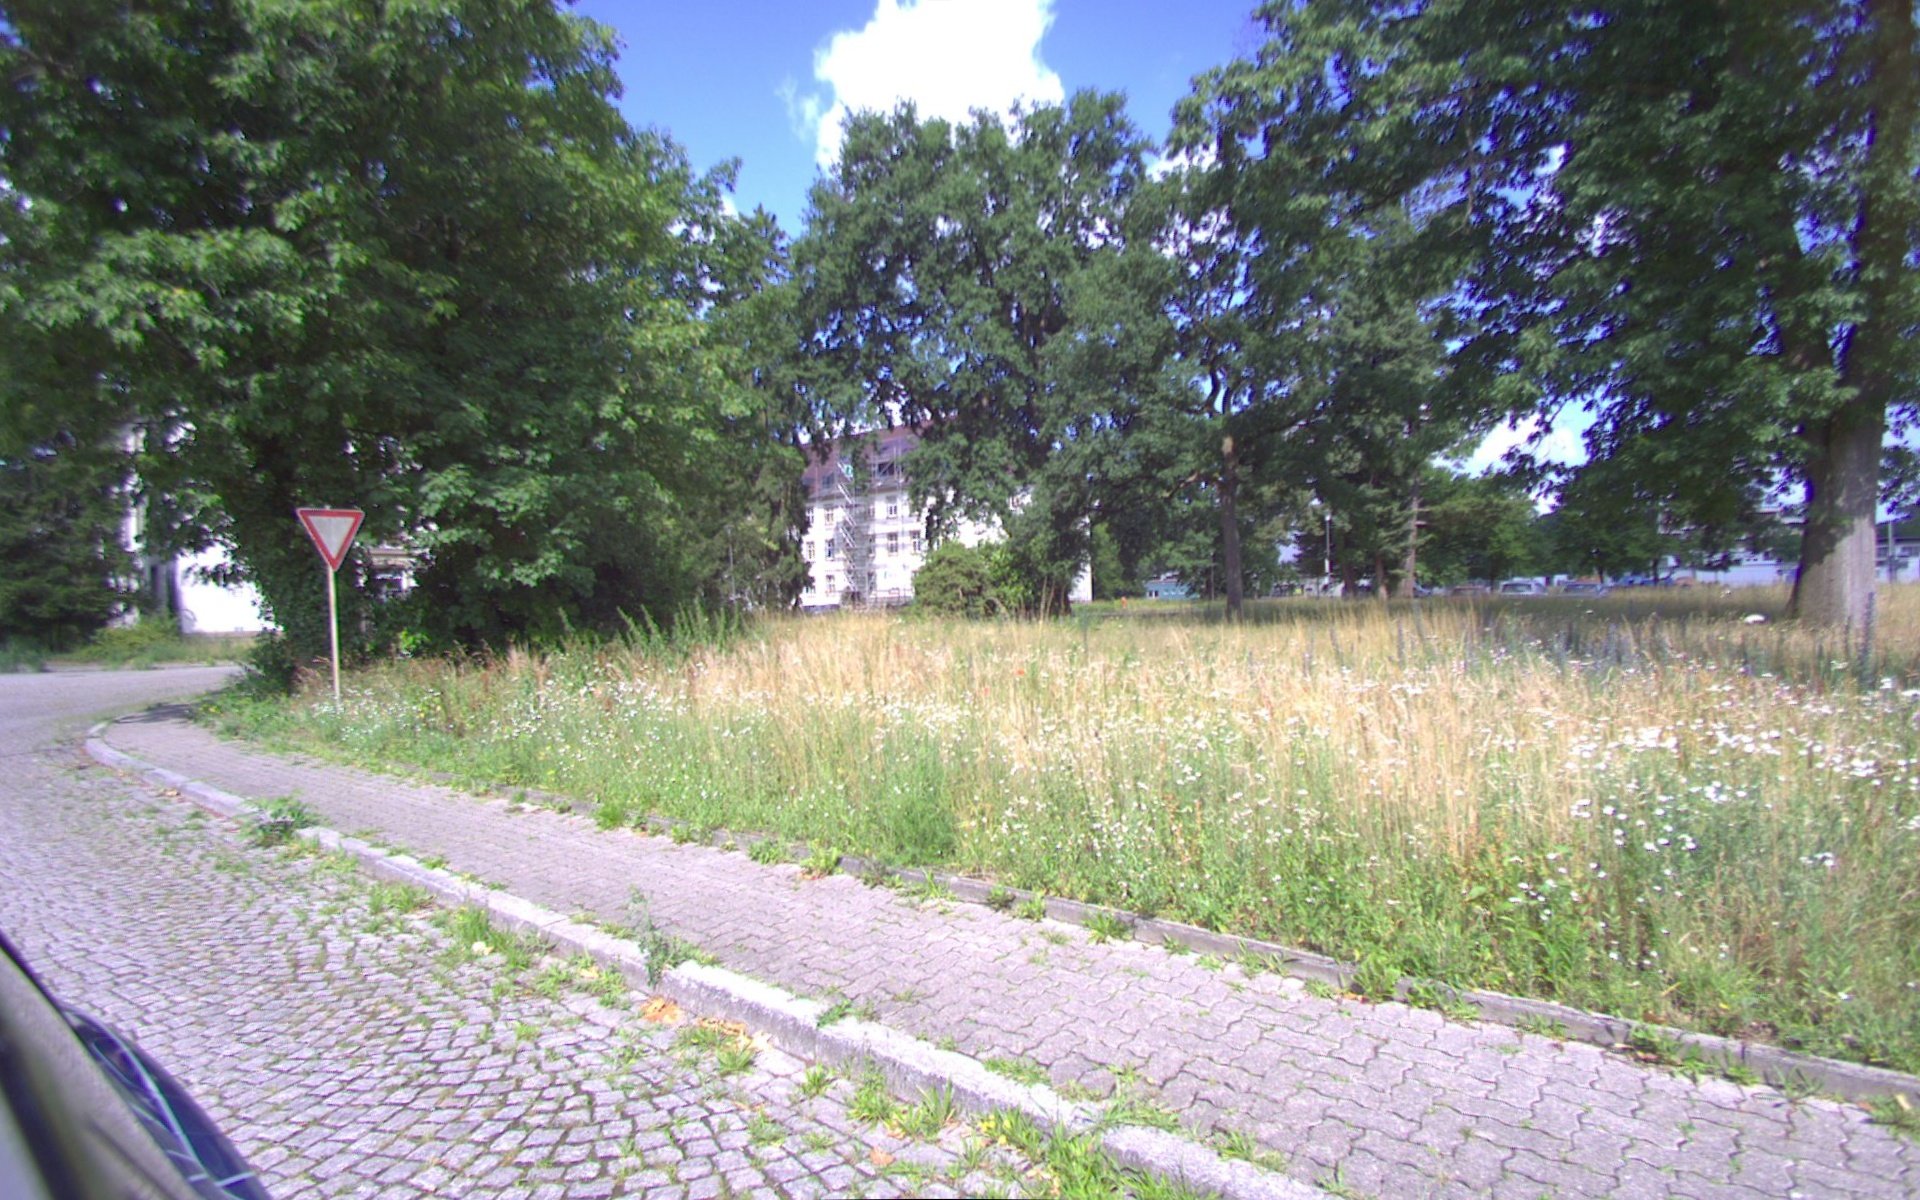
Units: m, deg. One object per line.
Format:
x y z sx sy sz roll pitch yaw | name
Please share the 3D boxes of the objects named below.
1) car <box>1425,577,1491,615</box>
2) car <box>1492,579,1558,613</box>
23.631 -0.177 47.957 1.899 1.704 4.017 -2 -1 39 | car
25.825 -0.172 46.191 1.899 1.423 4.017 -2 -1 39 | car
